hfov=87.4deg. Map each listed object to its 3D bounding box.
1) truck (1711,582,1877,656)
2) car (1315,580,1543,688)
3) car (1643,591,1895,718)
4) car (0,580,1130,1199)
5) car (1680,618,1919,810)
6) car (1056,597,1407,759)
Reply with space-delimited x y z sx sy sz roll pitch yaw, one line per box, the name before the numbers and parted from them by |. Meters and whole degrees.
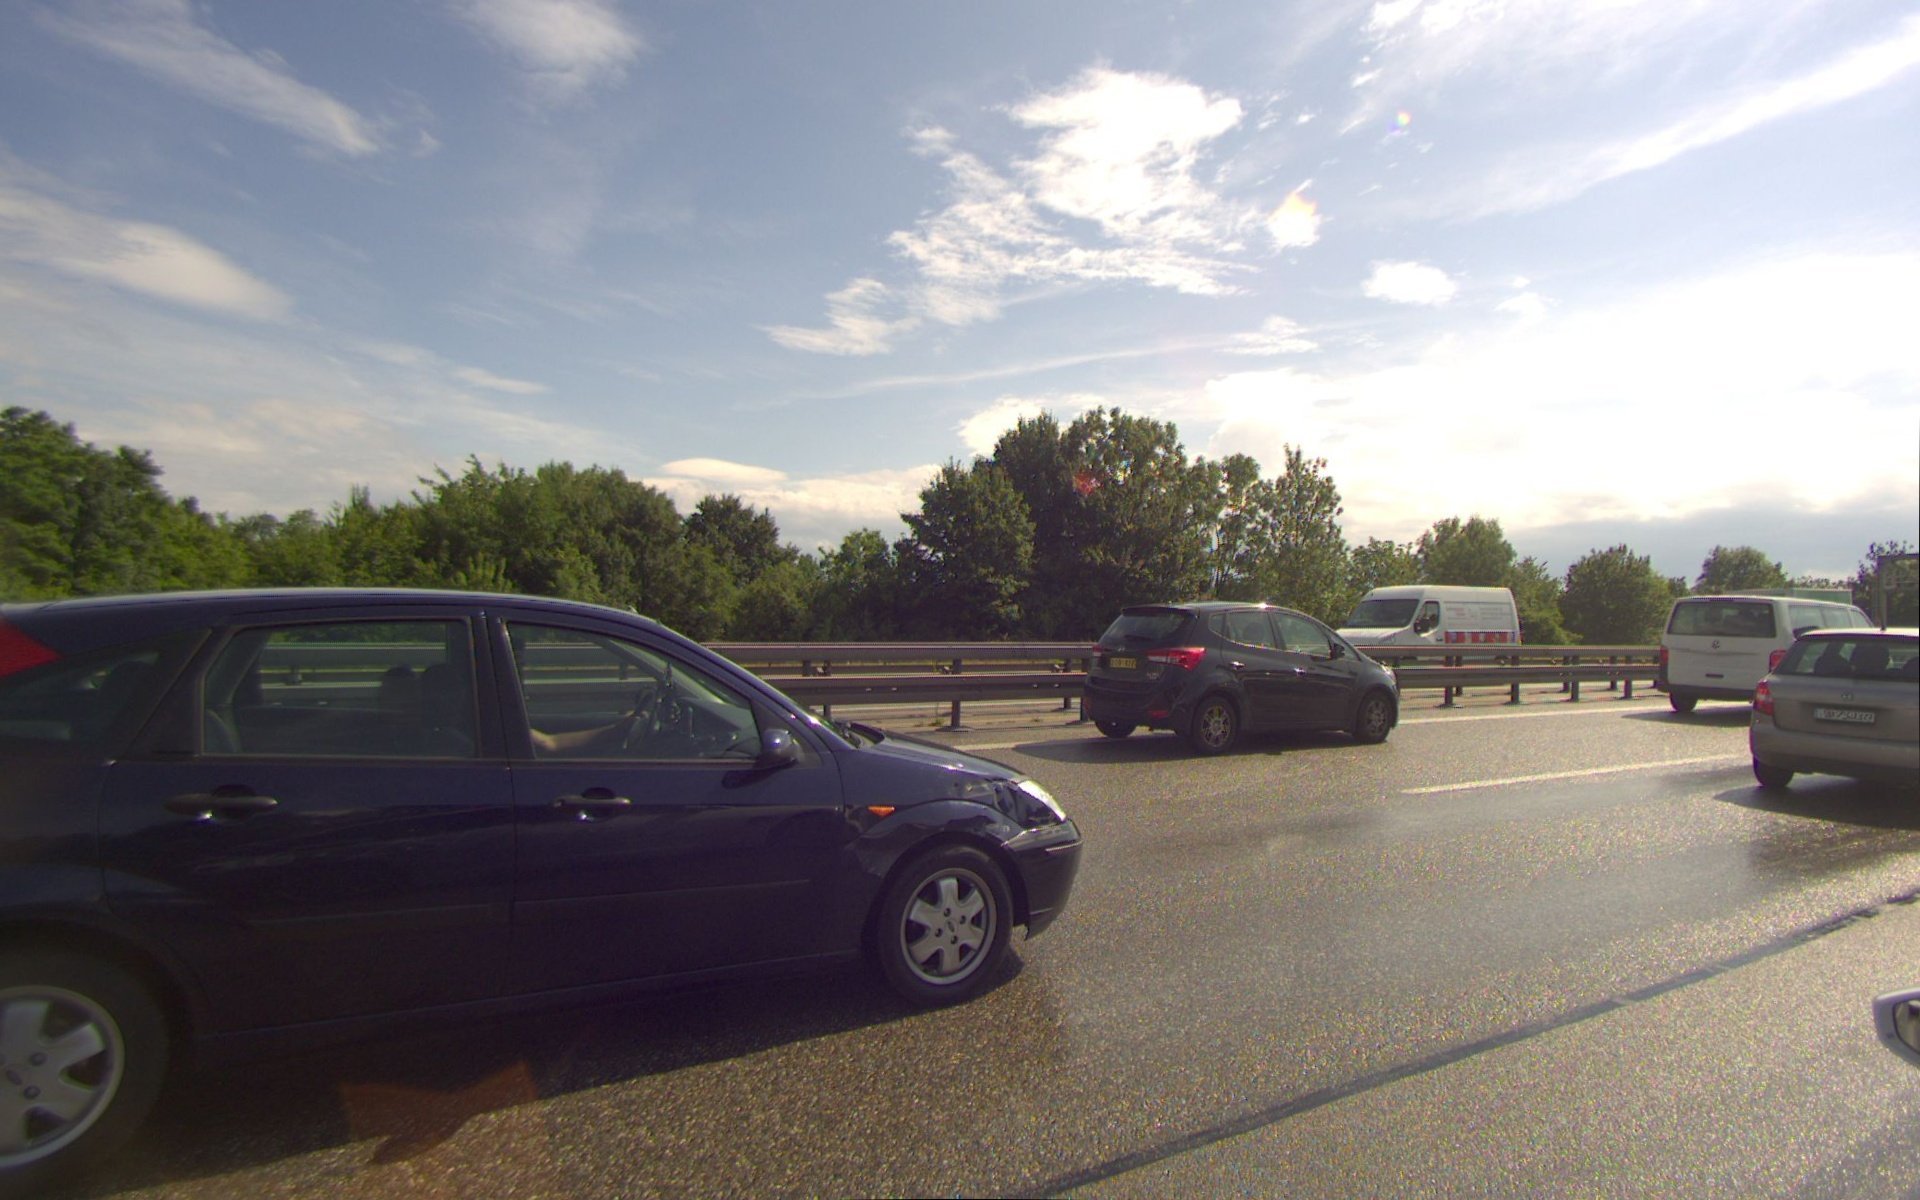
truck | 36.920 0.881 44.355 8.622 3.026 2.901 2 0 -31
car | 11.726 0.822 24.956 6.032 2.428 2.103 1 0 -31
car | 14.151 0.887 17.486 4.959 1.959 1.838 1 0 -31
car | -1.463 0.712 3.804 3.953 1.462 1.750 1 0 -30
car | 8.881 0.956 9.504 3.781 1.477 1.978 1 0 -30
car | 3.208 0.811 11.721 3.871 1.599 1.774 1 0 -31
